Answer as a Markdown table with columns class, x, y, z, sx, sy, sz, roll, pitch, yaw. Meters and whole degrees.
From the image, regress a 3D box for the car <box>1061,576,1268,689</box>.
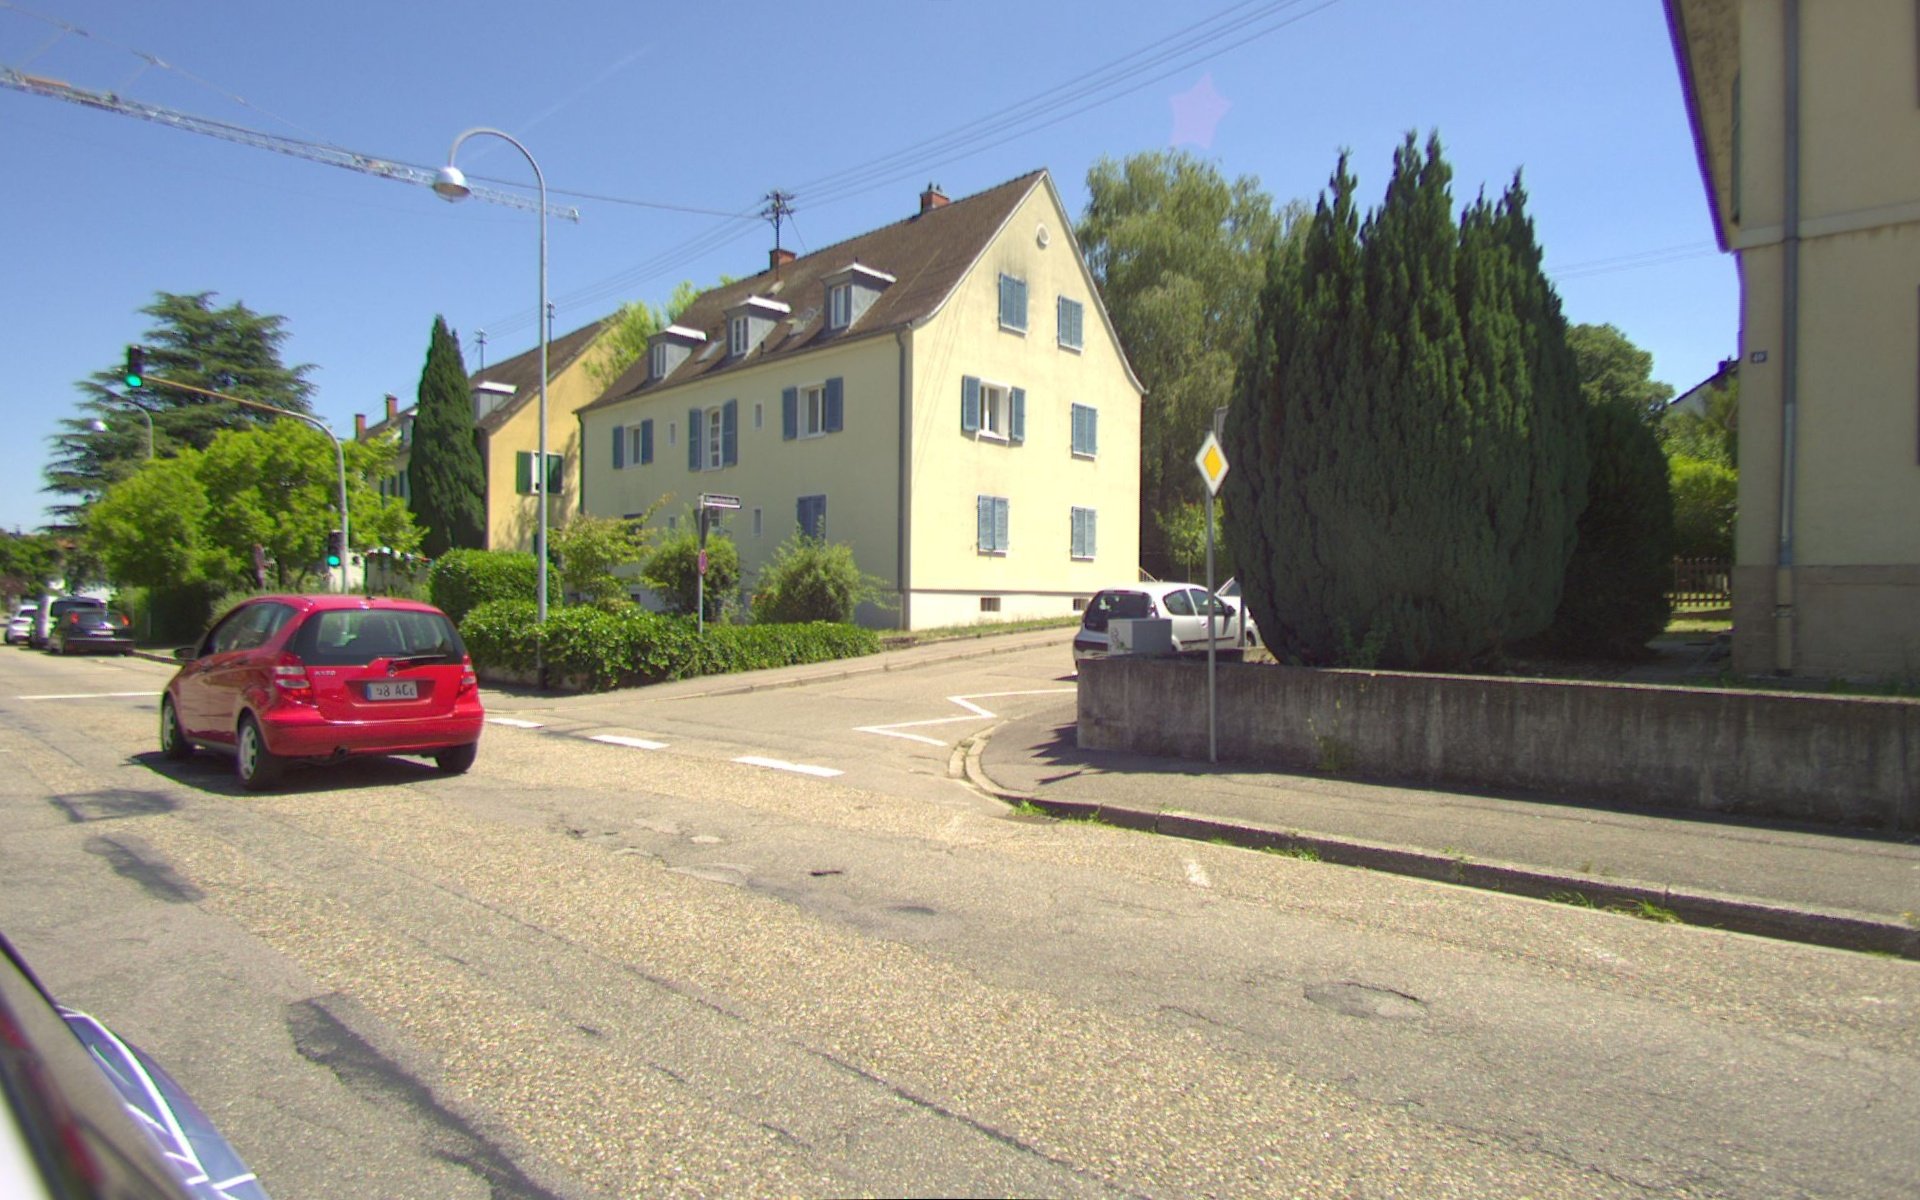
| class | x | y | z | sx | sy | sz | roll | pitch | yaw |
| --- | --- | --- | --- | --- | --- | --- | --- | --- | --- |
| car | 3.328 | 0.434 | 16.241 | 3.165 | 1.467 | 1.736 | -5 | 4 | -44 |

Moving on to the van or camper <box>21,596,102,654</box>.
| class | x | y | z | sx | sy | sz | roll | pitch | yaw |
| --- | --- | --- | --- | --- | --- | --- | --- | --- | --- |
| van or camper | -30.139 | 0.833 | 33.915 | 3.986 | 1.818 | 1.662 | 0 | -2 | 44 |

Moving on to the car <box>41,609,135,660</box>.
| class | x | y | z | sx | sy | sz | roll | pitch | yaw |
| --- | --- | --- | --- | --- | --- | --- | --- | --- | --- |
| car | -26.495 | 1.036 | 30.714 | 3.926 | 1.423 | 1.663 | 0 | -2 | 42 |

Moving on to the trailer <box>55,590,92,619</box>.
| class | x | y | z | sx | sy | sz | roll | pitch | yaw |
| --- | --- | --- | --- | --- | --- | --- | --- | --- | --- |
| trailer | -66.329 | 0.352 | 75.765 | 1.791 | 2.049 | 4.007 | 4 | -3 | -39 |

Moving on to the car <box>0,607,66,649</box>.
| class | x | y | z | sx | sy | sz | roll | pitch | yaw |
| --- | --- | --- | --- | --- | --- | --- | --- | --- | --- |
| car | -34.309 | 1.018 | 37.384 | 1.661 | 1.452 | 4.250 | 3 | -2 | -44 |

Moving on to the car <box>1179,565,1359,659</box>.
| class | x | y | z | sx | sy | sz | roll | pitch | yaw |
| --- | --- | --- | --- | --- | --- | --- | --- | --- | --- |
| car | 5.929 | 0.160 | 19.246 | 3.539 | 1.467 | 1.750 | -5 | 4 | -44 |

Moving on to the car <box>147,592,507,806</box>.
| class | x | y | z | sx | sy | sz | roll | pitch | yaw |
| --- | --- | --- | --- | --- | --- | --- | --- | --- | --- |
| car | -5.955 | 0.764 | 9.377 | 3.694 | 1.578 | 1.795 | 0 | -2 | 41 |
